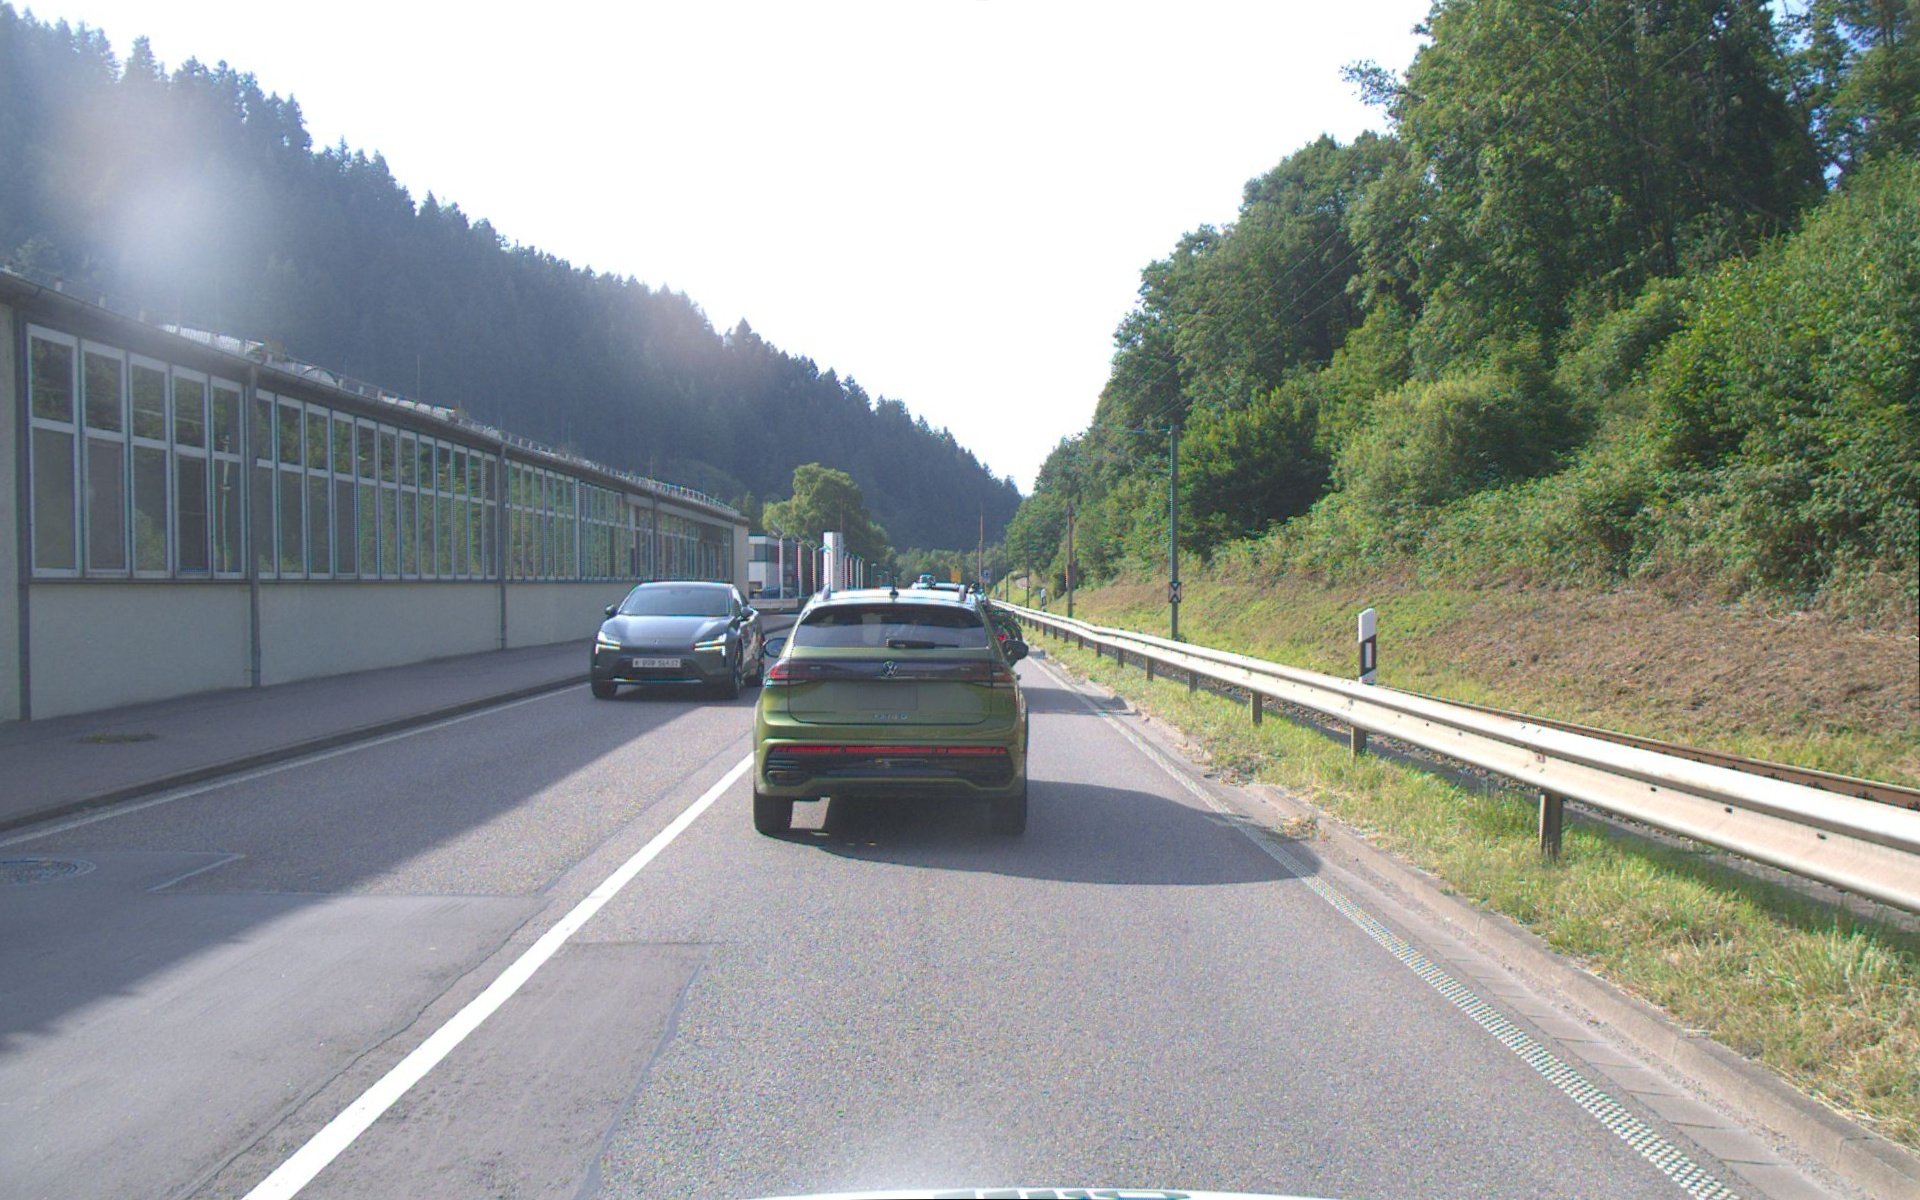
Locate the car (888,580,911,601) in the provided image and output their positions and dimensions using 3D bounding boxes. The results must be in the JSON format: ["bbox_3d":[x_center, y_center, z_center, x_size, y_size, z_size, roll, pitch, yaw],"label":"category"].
[{"bbox_3d":[-4.836,-0.760,132.414,1.738,1.516,4.051,2,0,-1],"label":"car"}]

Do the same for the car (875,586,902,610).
[{"bbox_3d":[-4.896,-0.152,113.465,1.684,1.540,4.198,2,0,-1],"label":"car"}]

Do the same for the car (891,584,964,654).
[{"bbox_3d":[-0.829,0.455,41.526,1.704,1.630,3.999,1,0,-2],"label":"car"}]

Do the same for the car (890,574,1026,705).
[{"bbox_3d":[-0.082,0.497,23.066,1.704,1.630,3.999,1,0,-2],"label":"car"}]

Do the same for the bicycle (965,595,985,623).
[{"bbox_3d":[0.700,0.419,78.673,0.795,1.272,2.121,1,0,-3],"label":"bicycle"}]

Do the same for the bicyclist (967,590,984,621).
[{"bbox_3d":[0.716,0.261,78.521,0.766,1.436,0.674,1,0,-3],"label":"bicyclist"}]

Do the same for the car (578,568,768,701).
[{"bbox_3d":[-3.905,0.430,23.244,1.891,1.609,4.457,2,0,-1],"label":"car"}]

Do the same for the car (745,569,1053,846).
[{"bbox_3d":[-0.398,0.600,11.296,1.704,1.534,3.999,1,0,-2],"label":"car"}]
